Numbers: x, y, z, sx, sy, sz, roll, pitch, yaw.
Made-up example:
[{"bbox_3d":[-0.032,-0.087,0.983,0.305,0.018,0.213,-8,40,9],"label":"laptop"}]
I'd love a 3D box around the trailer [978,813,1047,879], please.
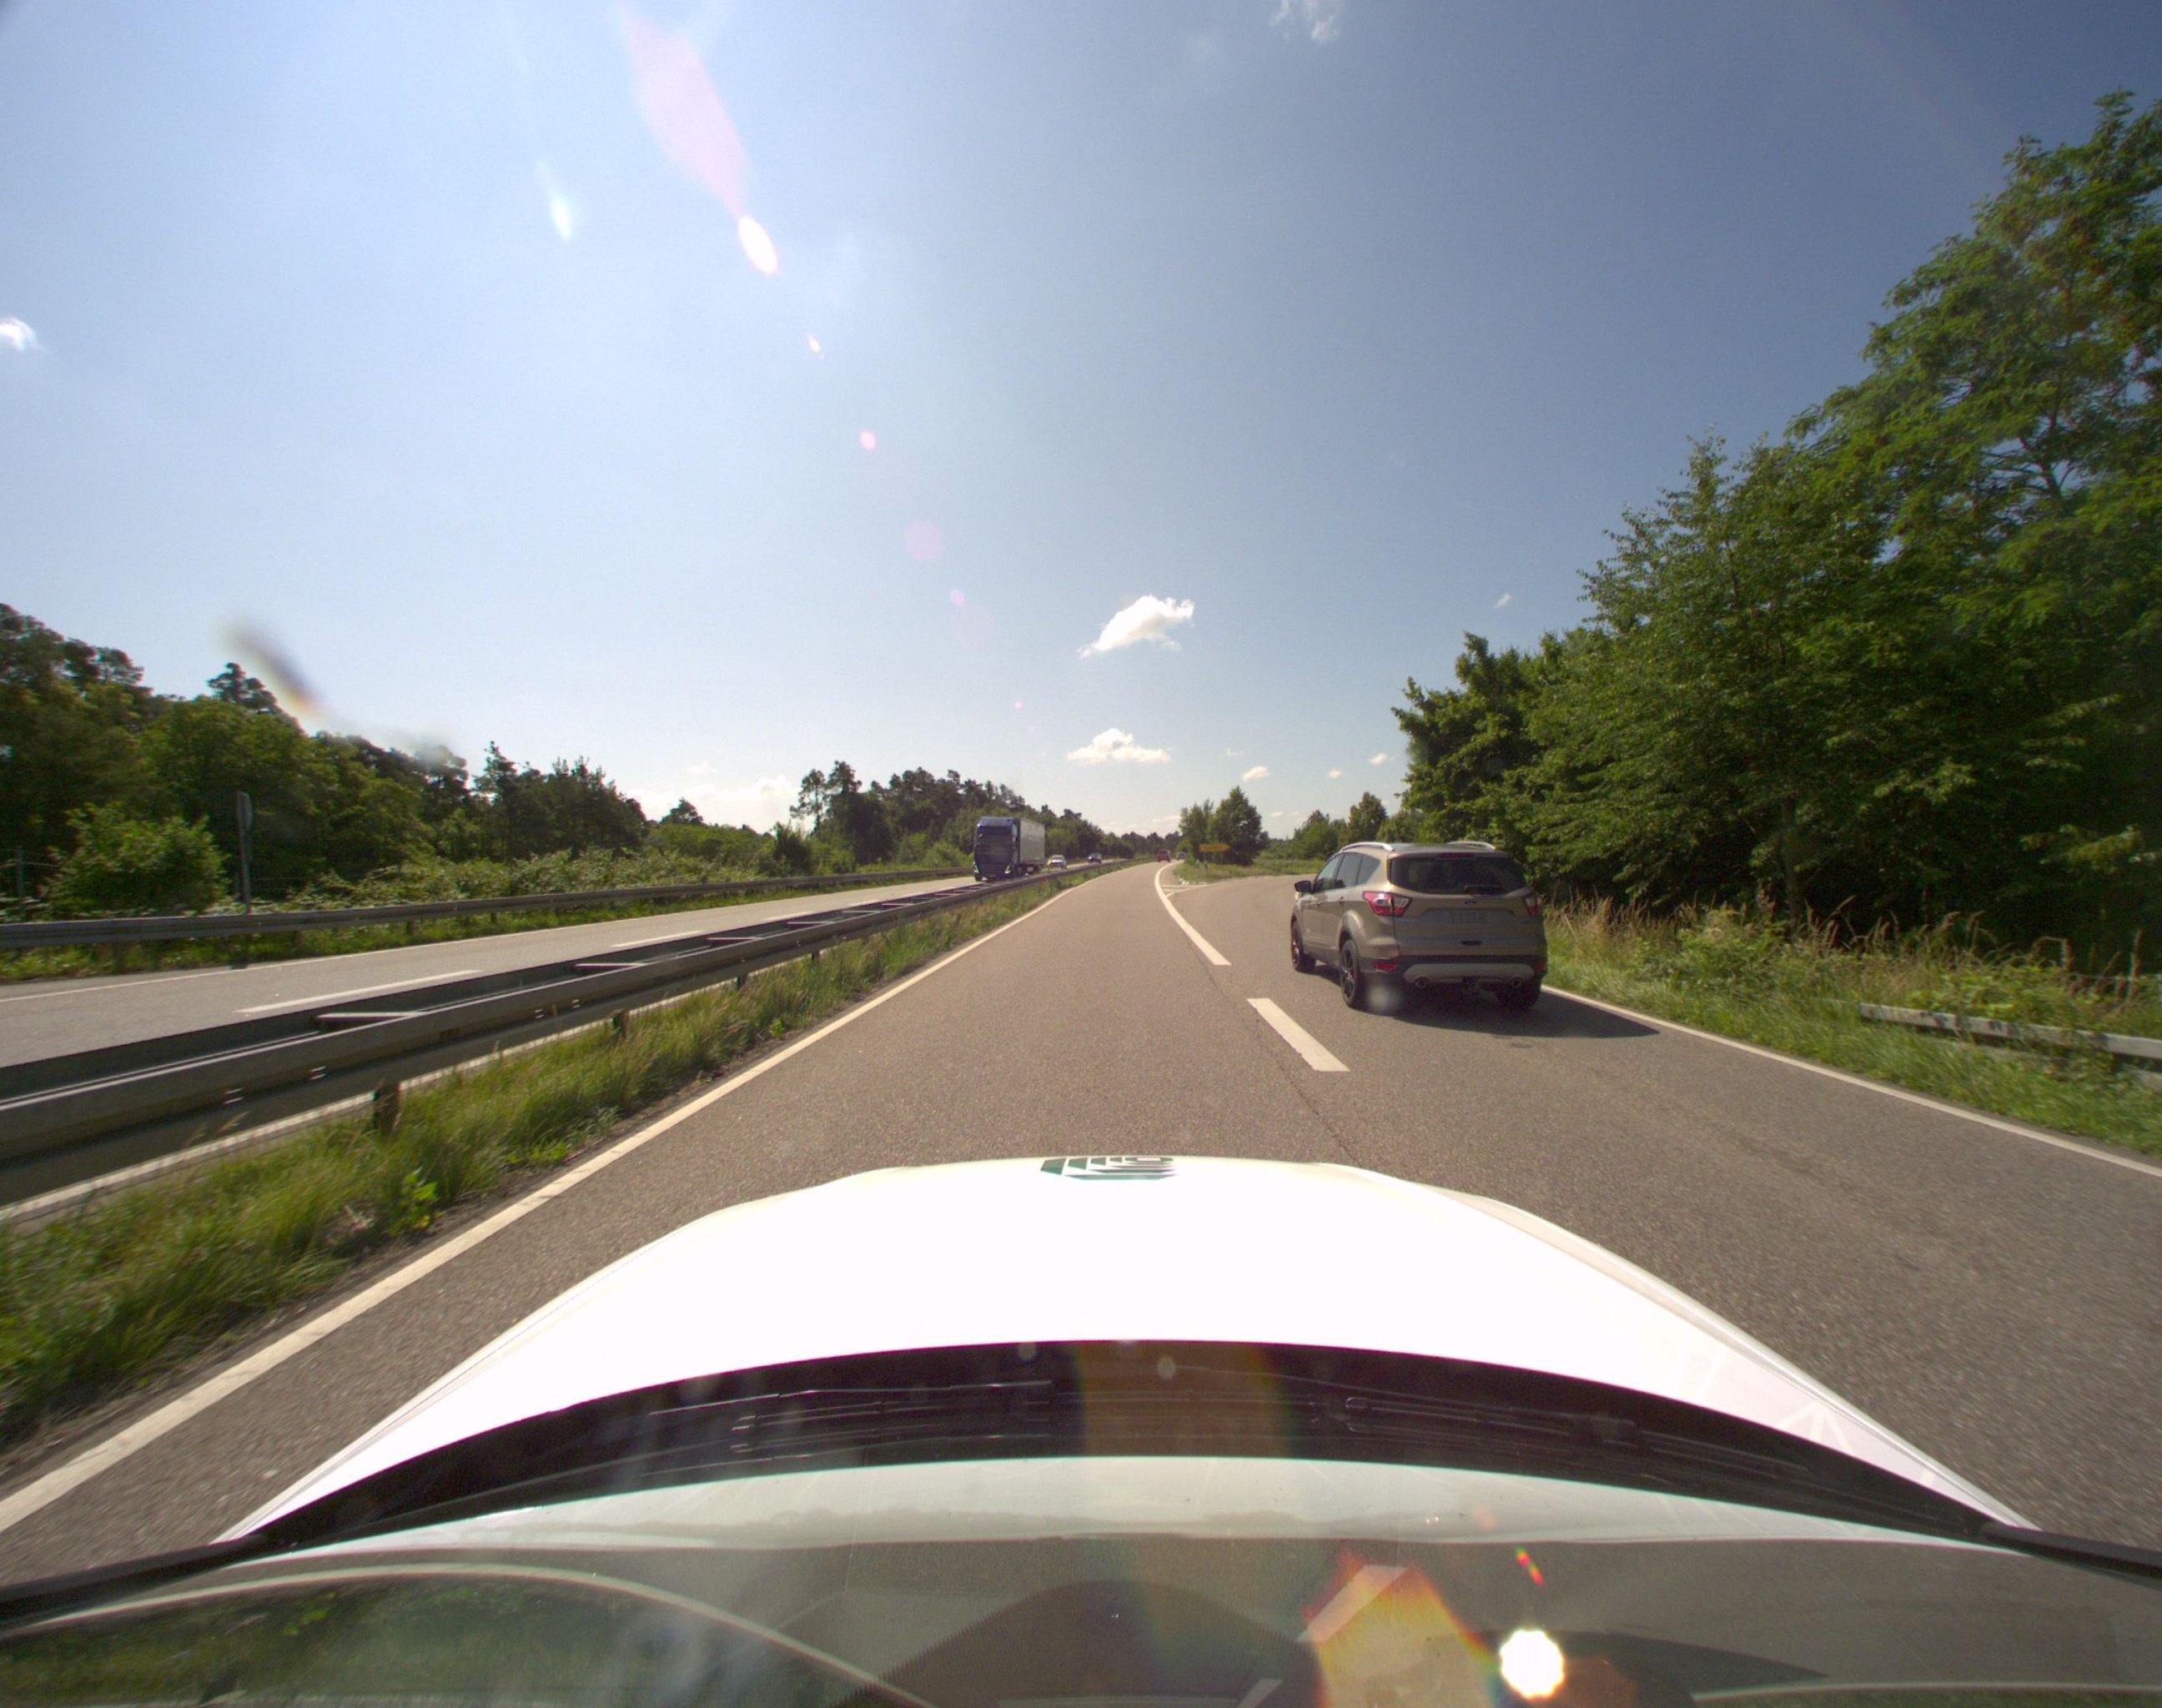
[{"bbox_3d":[-4.647,-0.485,58.747,2.733,4.172,14.597,0,0,4],"label":"trailer"}]

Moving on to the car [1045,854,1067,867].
[{"bbox_3d":[-2.776,0.715,91.510,1.785,1.444,4.613,0,0,5],"label":"car"}]

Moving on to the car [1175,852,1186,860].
[{"bbox_3d":[19.165,0.335,156.723,1.995,1.494,4.250,0,-1,10],"label":"car"}]

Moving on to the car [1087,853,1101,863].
[{"bbox_3d":[2.047,0.662,126.567,1.747,1.501,4.581,0,0,5],"label":"car"}]

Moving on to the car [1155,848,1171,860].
[{"bbox_3d":[13.211,0.031,130.755,2.064,1.993,5.126,0,-1,10],"label":"car"}]

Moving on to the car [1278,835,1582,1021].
[{"bbox_3d":[3.708,0.666,9.692,1.886,1.666,4.671,-1,0,4],"label":"car"}]

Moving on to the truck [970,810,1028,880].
[{"bbox_3d":[-5.121,-0.505,51.786,2.755,4.187,5.603,0,0,4],"label":"truck"}]
